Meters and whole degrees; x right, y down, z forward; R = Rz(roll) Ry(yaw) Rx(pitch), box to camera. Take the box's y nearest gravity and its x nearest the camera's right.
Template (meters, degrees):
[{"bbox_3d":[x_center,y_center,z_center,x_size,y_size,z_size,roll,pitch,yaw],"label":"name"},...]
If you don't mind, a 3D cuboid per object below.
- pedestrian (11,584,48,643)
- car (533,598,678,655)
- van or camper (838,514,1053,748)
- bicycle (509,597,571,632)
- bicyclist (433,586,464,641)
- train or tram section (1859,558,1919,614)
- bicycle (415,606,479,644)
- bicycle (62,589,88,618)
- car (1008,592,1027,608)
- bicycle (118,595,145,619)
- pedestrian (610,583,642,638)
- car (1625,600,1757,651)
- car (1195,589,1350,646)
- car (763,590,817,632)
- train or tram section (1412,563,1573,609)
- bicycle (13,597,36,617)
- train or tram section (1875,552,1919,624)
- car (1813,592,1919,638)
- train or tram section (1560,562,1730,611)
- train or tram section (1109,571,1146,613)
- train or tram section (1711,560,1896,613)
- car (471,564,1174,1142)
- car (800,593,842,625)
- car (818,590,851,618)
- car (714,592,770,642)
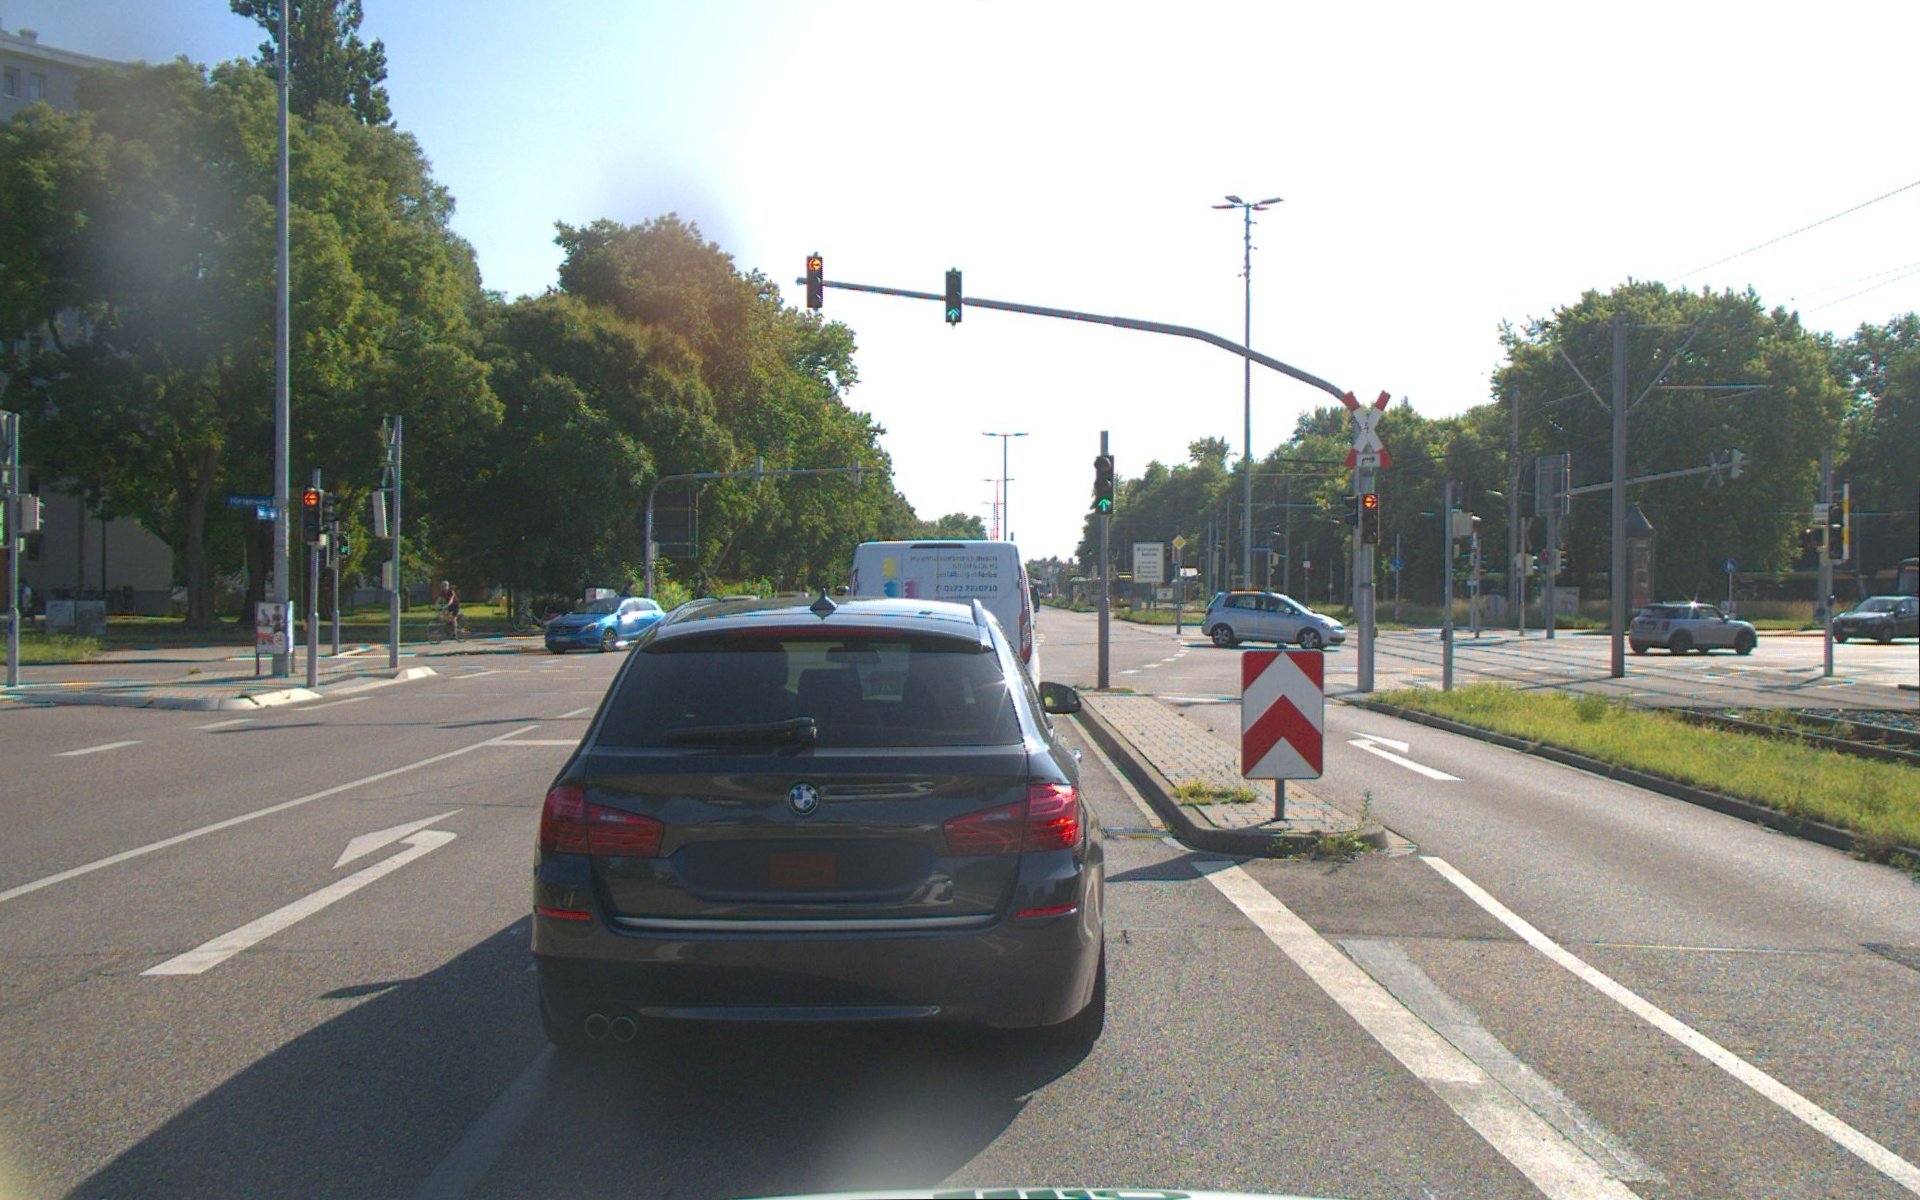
[{"bbox_3d":[-27.449,0.398,48.803,0.610,1.743,0.705,0,-1,11],"label":"pedestrian"},{"bbox_3d":[-9.524,0.684,44.762,1.743,1.439,4.243,0,0,23],"label":"car"},{"bbox_3d":[-0.103,0.270,17.371,1.952,2.133,4.599,0,0,1],"label":"van or camper"},{"bbox_3d":[-13.806,0.486,54.439,1.870,1.138,0.632,0,0,-1],"label":"bicycle"},{"bbox_3d":[-14.811,0.379,47.879,0.595,1.587,0.603,0,0,22],"label":"bicyclist"},{"bbox_3d":[63.753,-0.935,108.478,2.981,3.642,12.231,0,0,0],"label":"train or tram section"},{"bbox_3d":[-14.822,0.707,47.862,0.607,1.058,2.072,0,0,22],"label":"bicycle"},{"bbox_3d":[-35.032,0.148,65.454,0.606,1.085,1.892,1,-2,-37],"label":"bicycle"},{"bbox_3d":[5.624,-0.002,161.366,1.756,1.512,3.900,0,0,1],"label":"car"},{"bbox_3d":[-33.468,0.265,66.817,0.663,0.936,2.377,0,1,-35],"label":"bicycle"},{"bbox_3d":[-10.981,0.322,54.344,0.798,1.782,0.932,0,0,5],"label":"pedestrian"},{"bbox_3d":[21.051,0.712,47.611,3.472,1.408,1.594,0,0,-25],"label":"car"},{"bbox_3d":[9.068,0.481,47.931,4.107,1.590,1.855,0,0,25],"label":"car"},{"bbox_3d":[-6.830,0.418,66.868,1.709,1.589,4.000,-2,0,0],"label":"car"},{"bbox_3d":[43.534,-1.141,135.482,12.170,3.642,3.048,0,0,31],"label":"train or tram section"},{"bbox_3d":[-36.599,0.264,64.699,0.578,0.721,2.211,0,1,-35],"label":"bicycle"},{"bbox_3d":[53.002,-0.618,88.000,11.721,3.642,3.015,0,0,-37],"label":"train or tram section"},{"bbox_3d":[32.836,0.502,58.942,4.792,1.590,2.025,0,0,-29],"label":"car"},{"bbox_3d":[53.295,-1.047,128.970,11.984,3.642,3.043,0,0,36],"label":"train or tram section"},{"bbox_3d":[15.514,-0.668,153.875,2.738,3.681,12.960,1,0,3],"label":"train or tram section"},{"bbox_3d":[60.937,-0.960,119.879,3.017,3.642,12.087,0,0,-34],"label":"train or tram section"},{"bbox_3d":[-0.384,0.661,6.432,1.864,1.532,4.064,0,0,-1],"label":"car"},{"bbox_3d":[-6.687,0.423,79.911,1.851,1.499,4.098,-1,0,-3],"label":"car"},{"bbox_3d":[-7.277,0.229,95.849,1.753,1.546,3.998,-1,0,-3],"label":"car"},{"bbox_3d":[-6.878,0.507,52.466,1.670,1.490,4.363,-1,0,-7],"label":"car"}]
